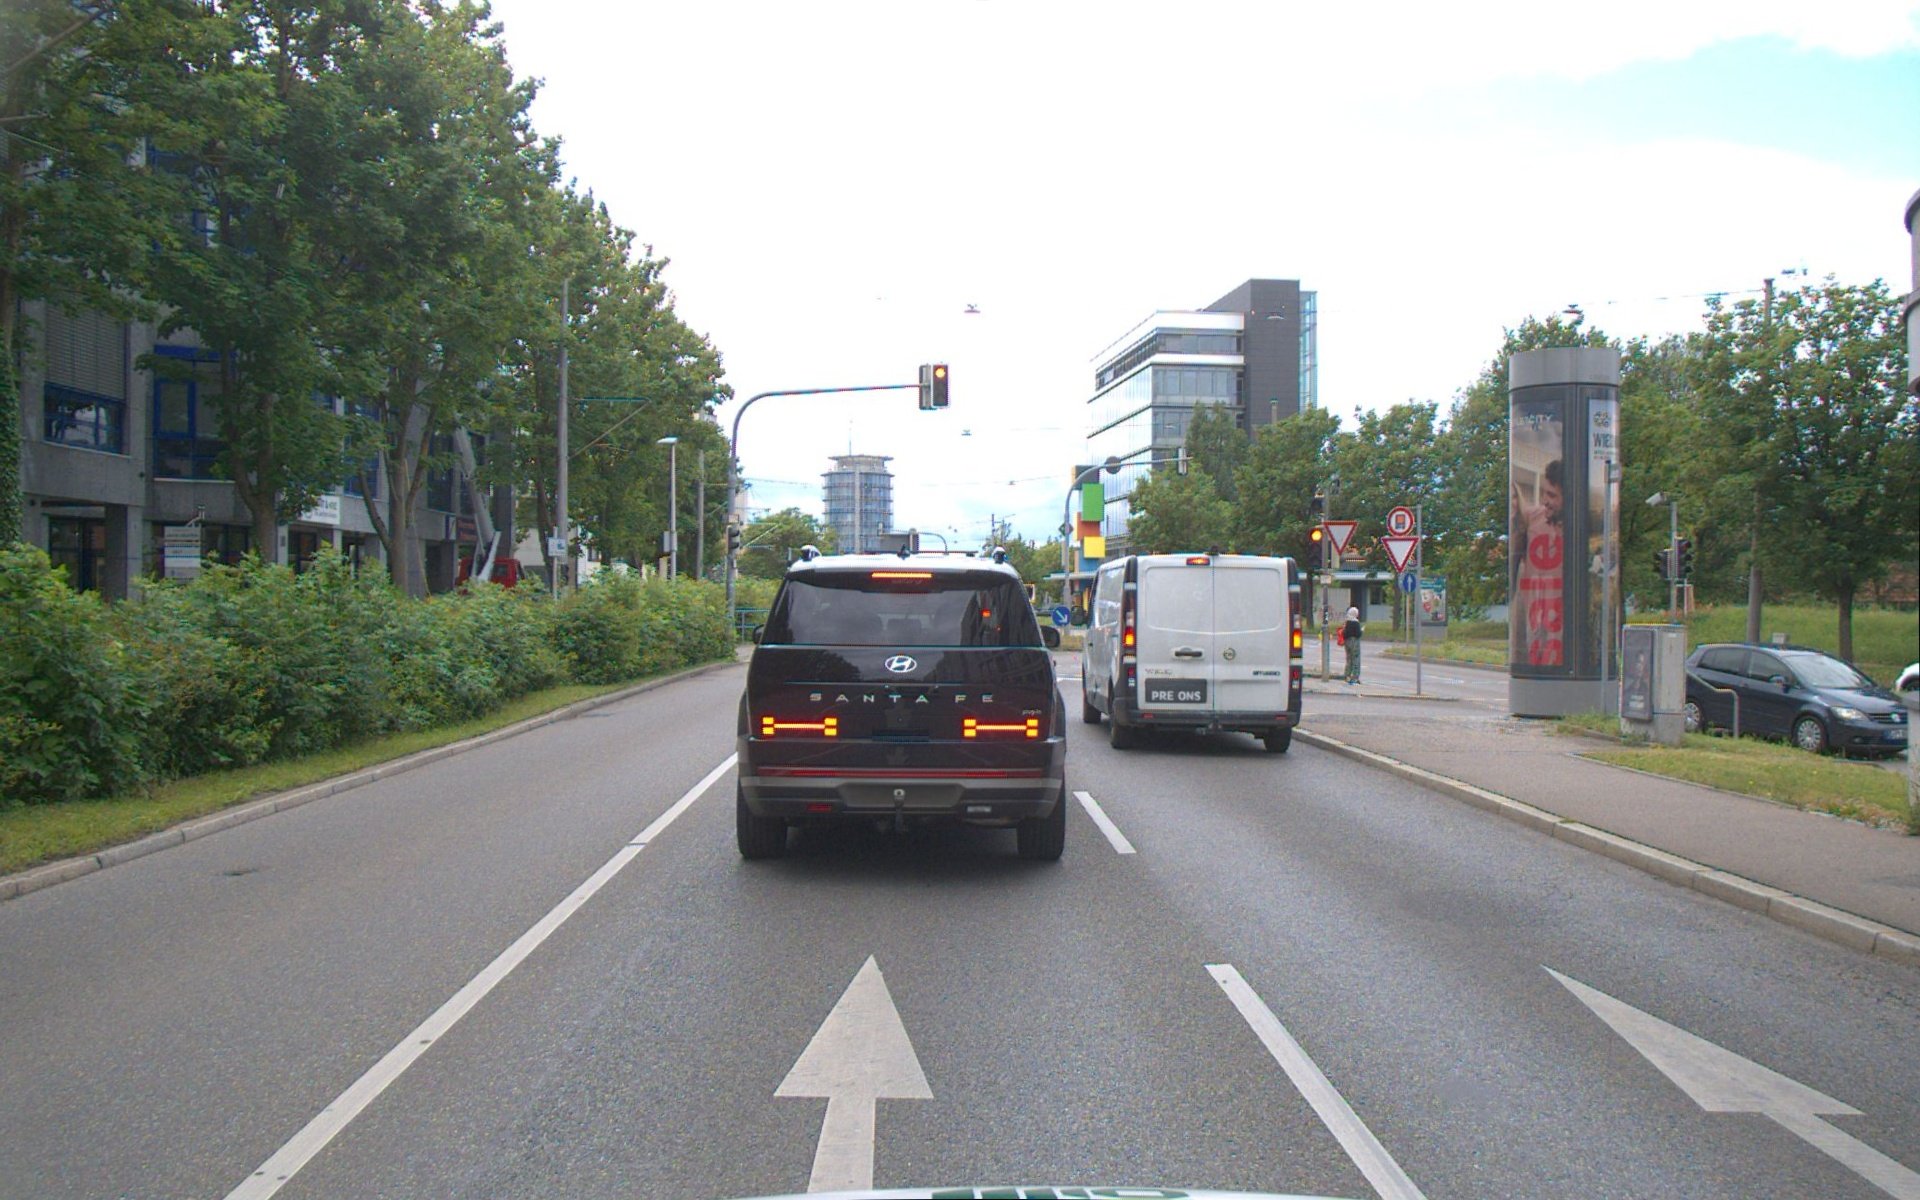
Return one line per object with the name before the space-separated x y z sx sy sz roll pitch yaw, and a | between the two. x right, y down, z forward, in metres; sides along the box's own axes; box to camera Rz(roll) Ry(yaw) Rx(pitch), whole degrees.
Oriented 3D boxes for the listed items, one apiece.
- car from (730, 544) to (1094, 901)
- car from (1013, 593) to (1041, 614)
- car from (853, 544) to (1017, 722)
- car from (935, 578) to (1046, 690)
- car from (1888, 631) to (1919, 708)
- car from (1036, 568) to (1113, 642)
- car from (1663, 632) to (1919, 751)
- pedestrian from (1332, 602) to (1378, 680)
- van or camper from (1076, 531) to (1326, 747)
car | -0.281 0.610 10.271 1.831 1.791 3.879 0 0 -1
car | 5.690 0.273 140.354 1.954 1.713 3.997 1 -1 -4
car | -0.335 0.372 20.919 1.876 2.038 3.878 0 0 -1
car | 0.504 0.555 28.437 1.739 1.747 4.338 1 -1 0
car | 20.093 1.448 31.547 1.960 1.478 3.985 3 0 -14
car | 3.307 0.158 48.566 1.953 2.049 3.999 1 -1 0
car | 13.388 1.403 26.665 1.674 1.713 3.767 1 -1 -20
pedestrian | 8.390 0.874 35.125 0.733 1.612 0.565 2 0 -41
van or camper | 2.479 0.370 18.190 1.953 2.049 4.651 1 0 -1
